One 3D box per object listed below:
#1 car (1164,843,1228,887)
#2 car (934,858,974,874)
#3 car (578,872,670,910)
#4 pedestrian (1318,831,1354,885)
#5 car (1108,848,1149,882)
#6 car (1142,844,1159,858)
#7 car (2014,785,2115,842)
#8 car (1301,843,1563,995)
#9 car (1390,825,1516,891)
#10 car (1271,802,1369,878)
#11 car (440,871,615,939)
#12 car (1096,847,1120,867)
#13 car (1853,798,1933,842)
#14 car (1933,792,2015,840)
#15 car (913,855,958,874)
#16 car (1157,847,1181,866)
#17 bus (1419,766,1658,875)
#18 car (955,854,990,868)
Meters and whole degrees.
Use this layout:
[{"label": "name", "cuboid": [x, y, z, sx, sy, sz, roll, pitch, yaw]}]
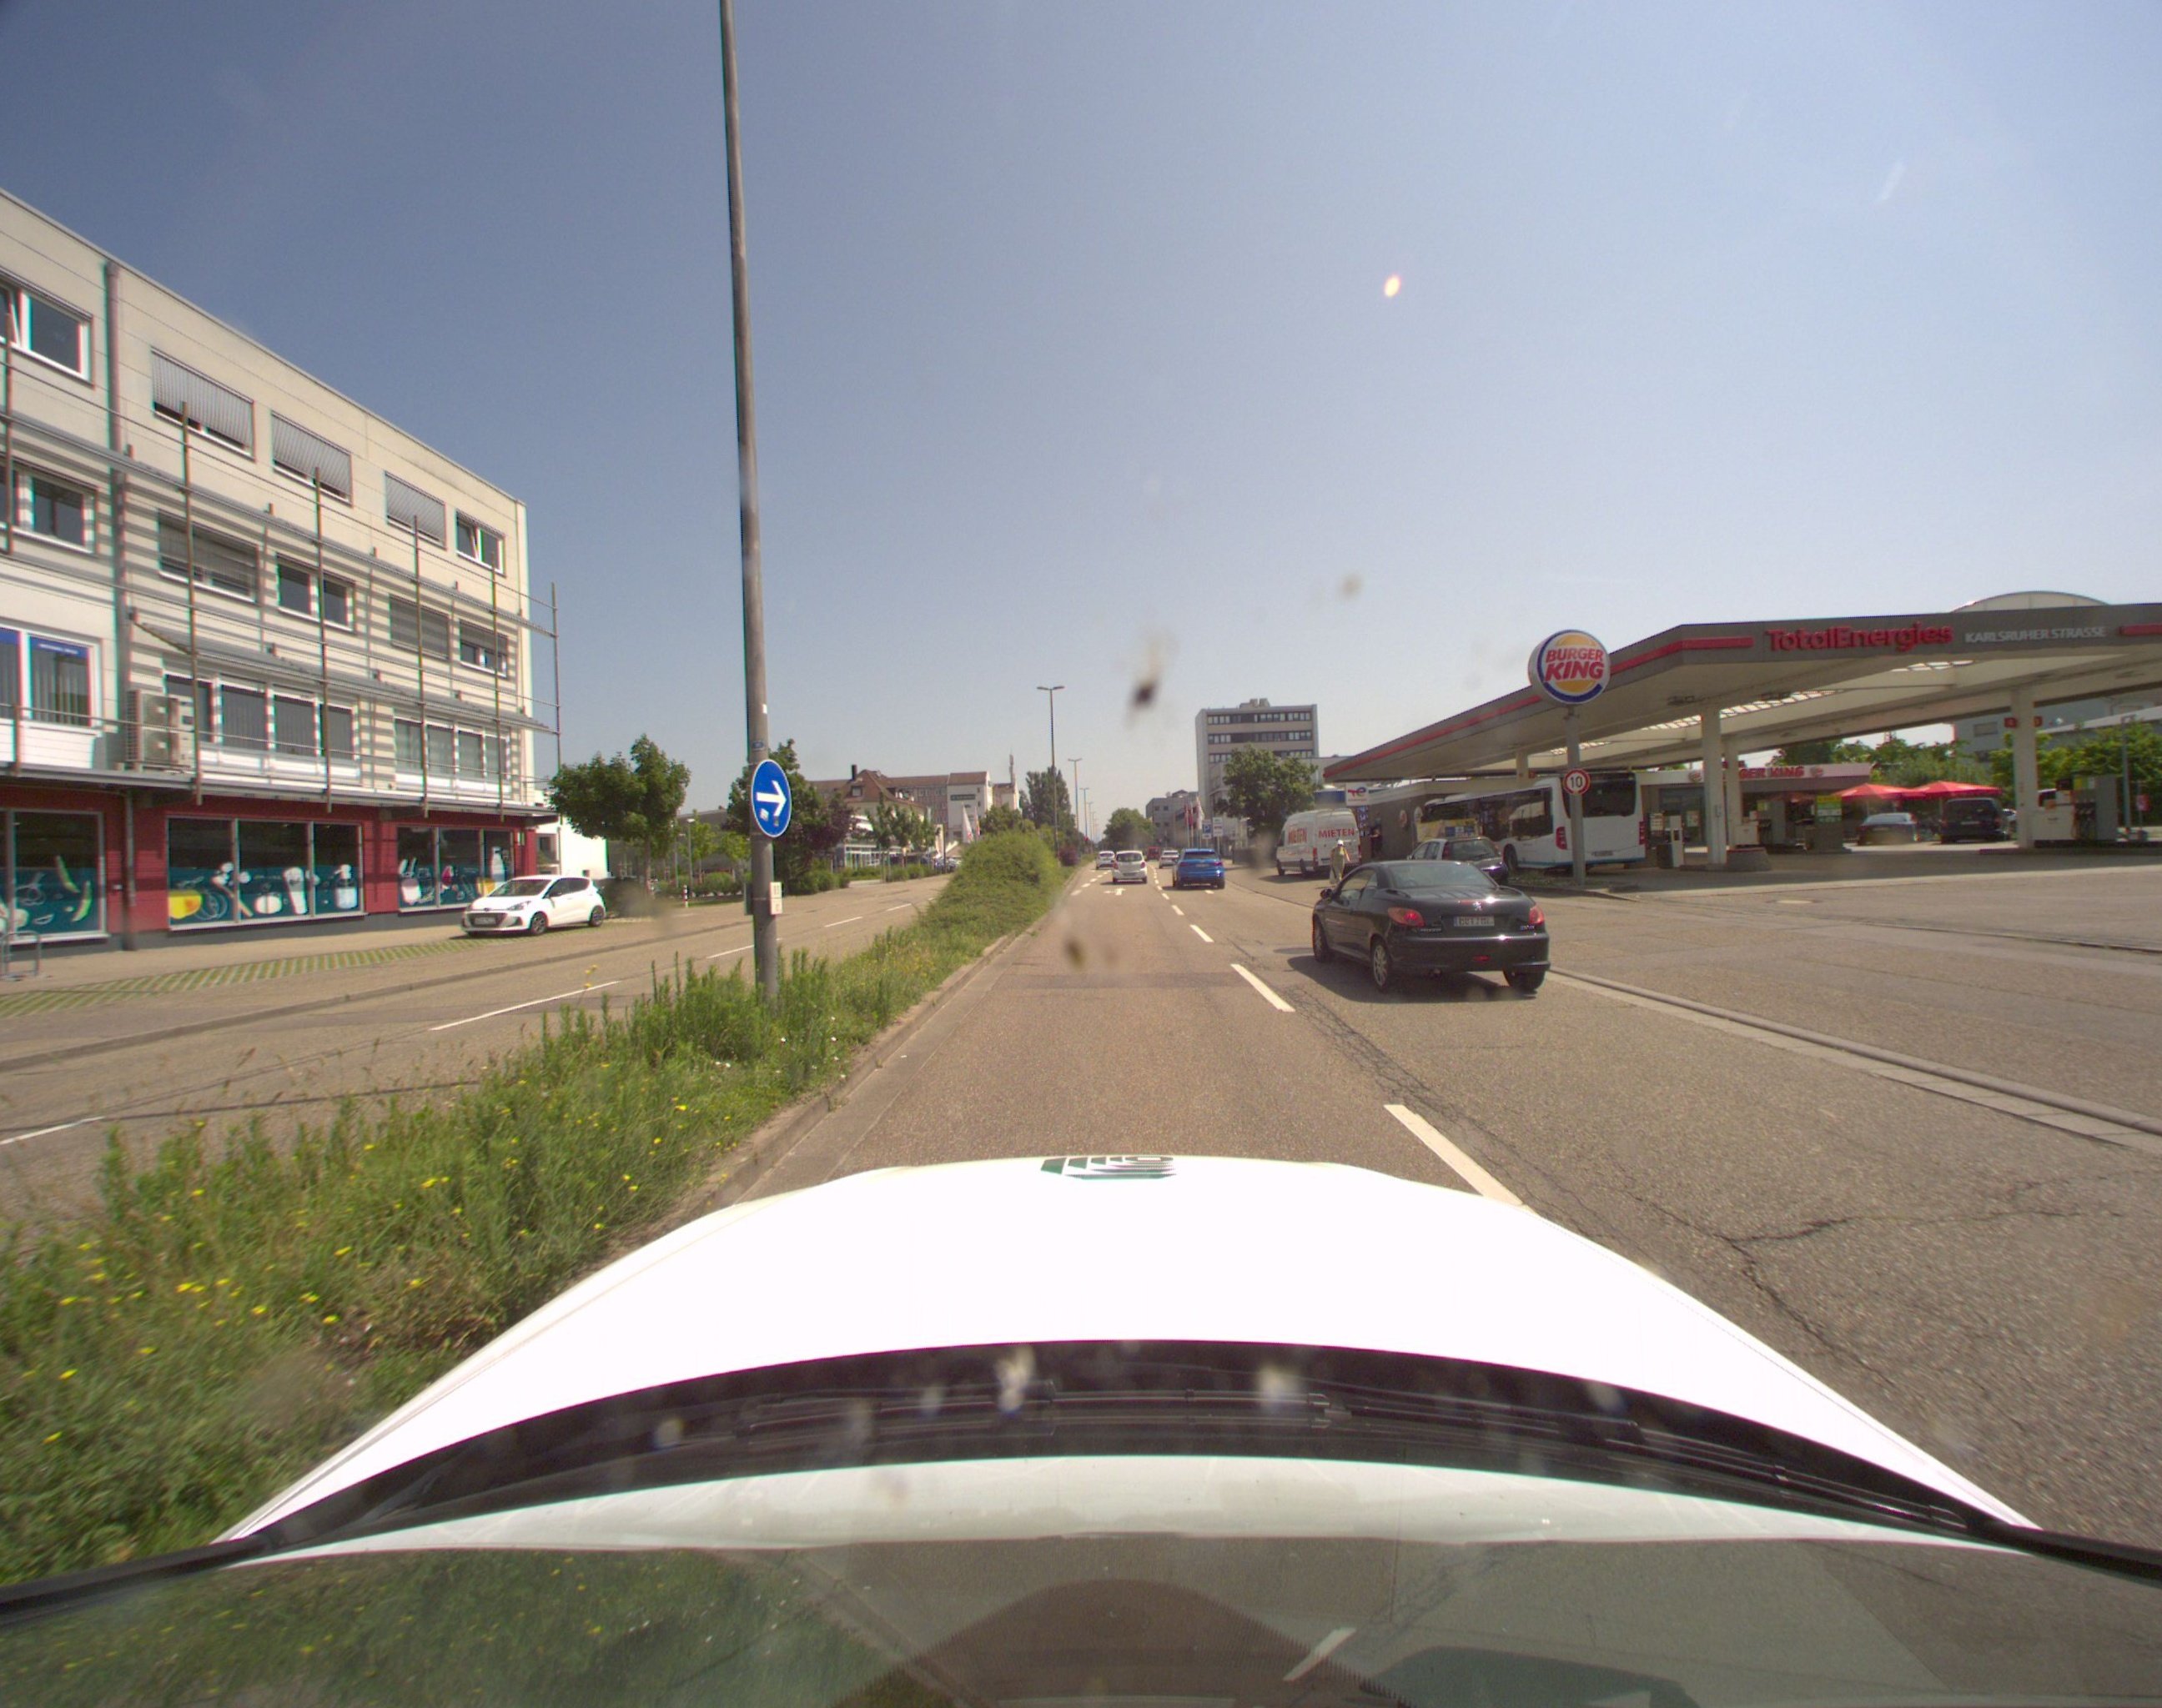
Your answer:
[{"label": "car", "cuboid": [4.523, 0.371, 32.537, 1.907, 1.597, 4.395, -1, 1, -1]}, {"label": "car", "cuboid": [-13.583, 1.291, 87.229, 3.975, 1.684, 1.999, -1, -2, -1]}, {"label": "car", "cuboid": [-20.903, 1.668, 37.442, 1.762, 1.547, 4.002, -2, -2, 2]}, {"label": "pedestrian", "cuboid": [8.775, 0.139, 28.077, 0.812, 1.748, 0.703, -7, 0, 1]}, {"label": "car", "cuboid": [2.202, 0.506, 38.544, 1.707, 1.511, 3.246, -1, -1, -1]}, {"label": "car", "cuboid": [9.069, -0.409, 106.624, 1.789, 1.729, 3.971, -1, -1, 0]}, {"label": "car", "cuboid": [37.092, -1.445, 30.700, 4.015, 1.886, 1.913, 0, -2, -33]}, {"label": "car", "cuboid": [3.891, 0.630, 9.723, 1.594, 1.425, 3.662, -2, 0, 1]}, {"label": "car", "cuboid": [9.827, 0.094, 21.835, 1.651, 1.519, 3.821, -3, 0, 1]}, {"label": "car", "cuboid": [10.130, -0.568, 35.227, 2.125, 2.839, 7.311, -3, 0, 2]}, {"label": "car", "cuboid": [-14.289, 1.251, 21.343, 1.672, 1.494, 4.045, -1, 0, 3]}, {"label": "car", "cuboid": [2.185, 0.268, 65.774, 1.822, 1.450, 4.003, -1, -1, 3]}, {"label": "car", "cuboid": [37.111, -1.497, 37.196, 4.018, 1.744, 1.977, 0, -3, -37]}, {"label": "car", "cuboid": [37.032, -1.518, 33.748, 4.018, 1.744, 1.840, 0, -3, -37]}, {"label": "car", "cuboid": [-13.953, 1.000, 78.310, 3.975, 1.664, 1.887, -1, -2, -1]}, {"label": "car", "cuboid": [6.998, 0.203, 64.916, 1.660, 1.399, 3.795, -2, 0, 2]}, {"label": "bus", "cuboid": [15.896, -1.091, 29.910, 2.791, 3.078, 12.303, -2, 1, 5]}, {"label": "car", "cuboid": [-13.419, 0.892, 100.594, 3.969, 1.552, 1.867, -1, -2, 4]}]
